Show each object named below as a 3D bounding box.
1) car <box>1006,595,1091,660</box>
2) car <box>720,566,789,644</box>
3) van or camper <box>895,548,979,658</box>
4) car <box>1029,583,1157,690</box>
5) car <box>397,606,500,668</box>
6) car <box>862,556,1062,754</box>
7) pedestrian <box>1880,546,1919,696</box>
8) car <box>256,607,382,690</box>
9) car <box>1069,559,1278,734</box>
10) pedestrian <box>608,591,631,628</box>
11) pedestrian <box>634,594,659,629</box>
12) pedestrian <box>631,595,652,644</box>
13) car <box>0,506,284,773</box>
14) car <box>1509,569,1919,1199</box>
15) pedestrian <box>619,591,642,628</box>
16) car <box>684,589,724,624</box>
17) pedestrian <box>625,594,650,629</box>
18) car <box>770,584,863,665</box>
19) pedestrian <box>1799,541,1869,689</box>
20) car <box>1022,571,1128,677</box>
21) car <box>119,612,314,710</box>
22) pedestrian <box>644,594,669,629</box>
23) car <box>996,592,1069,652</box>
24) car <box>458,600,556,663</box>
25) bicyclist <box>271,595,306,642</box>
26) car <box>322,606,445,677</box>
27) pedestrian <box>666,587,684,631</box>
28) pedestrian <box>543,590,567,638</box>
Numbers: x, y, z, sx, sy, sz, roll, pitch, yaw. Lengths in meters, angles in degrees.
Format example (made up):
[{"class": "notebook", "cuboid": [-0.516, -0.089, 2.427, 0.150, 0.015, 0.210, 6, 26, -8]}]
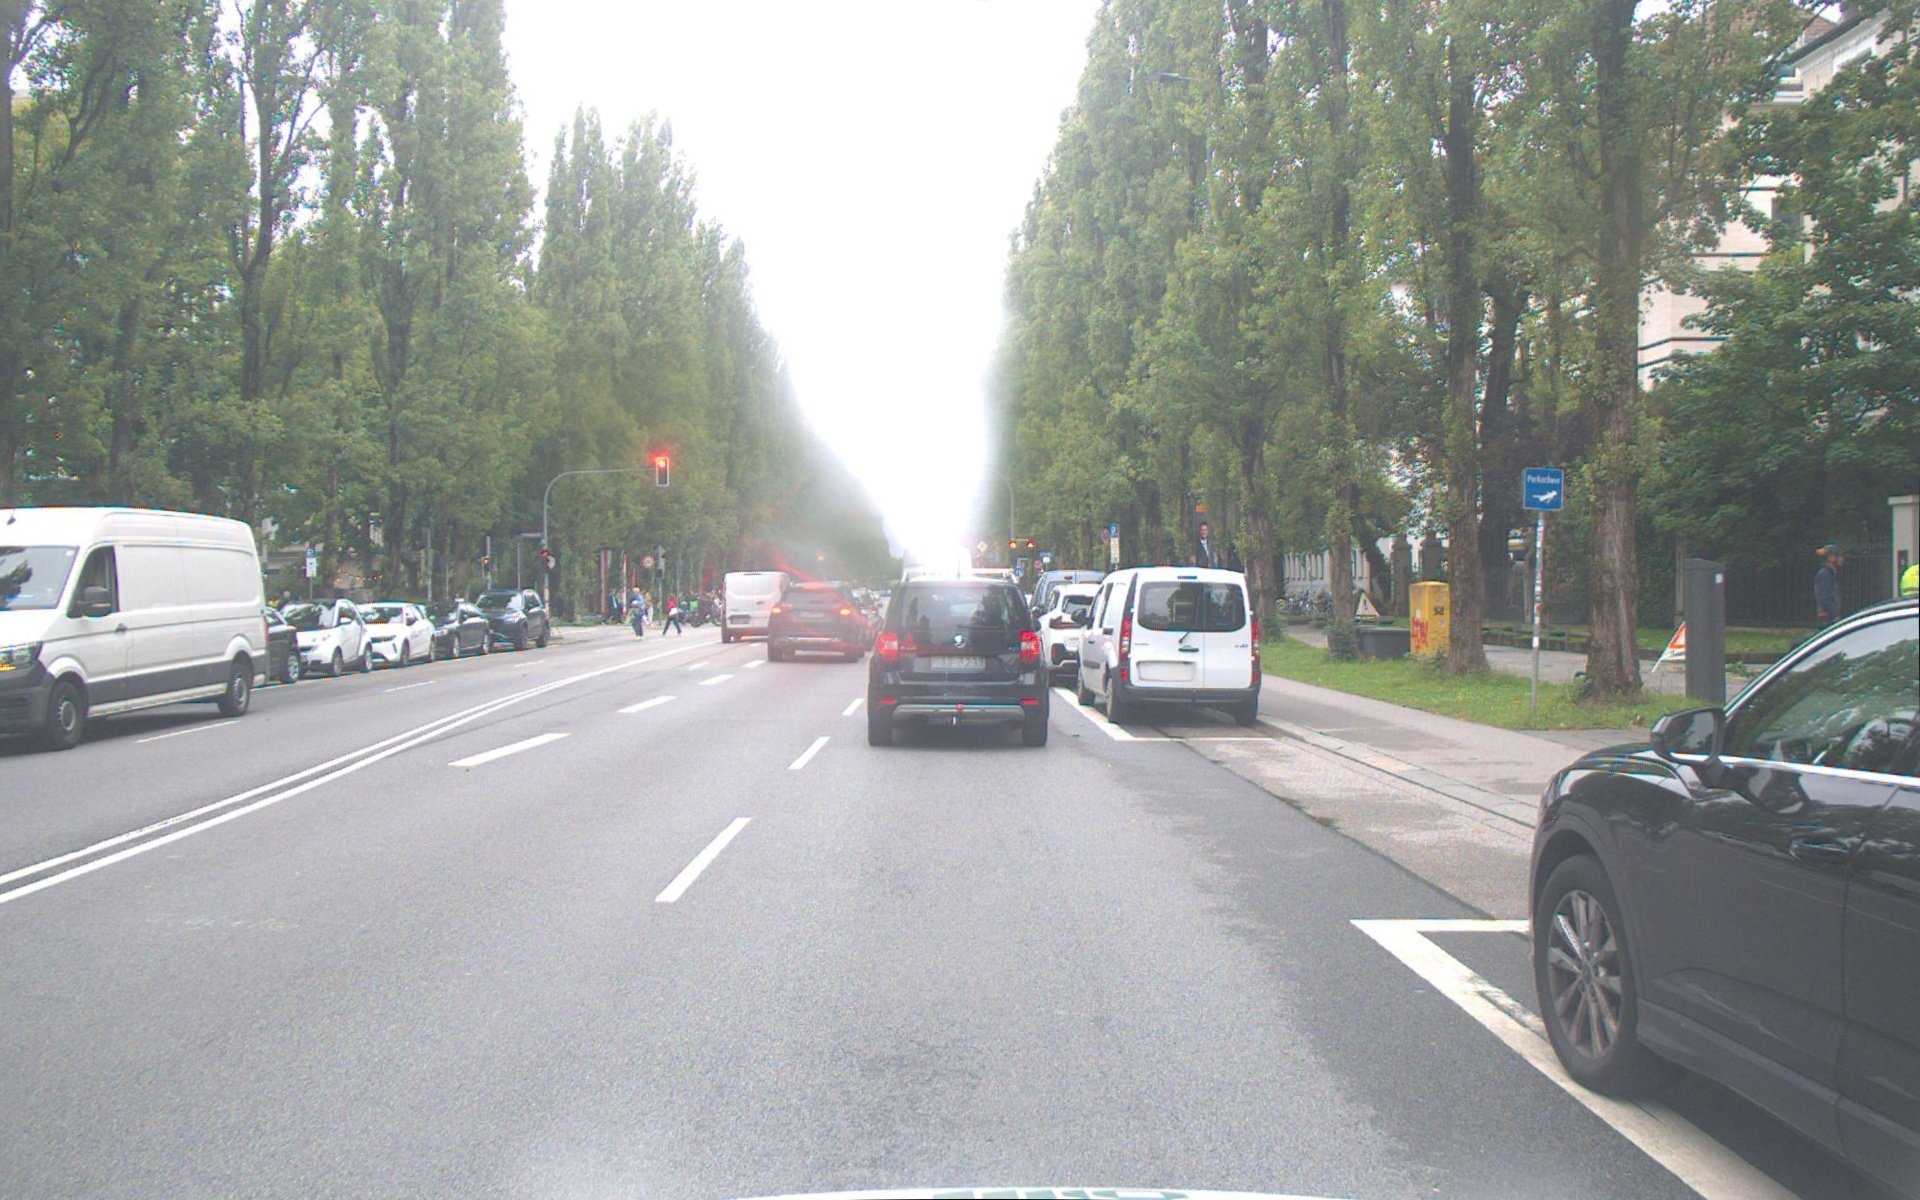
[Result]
[{"class": "car", "cuboid": [2.027, 0.611, 38.796, 1.700, 1.411, 3.561, -1, 1, -1]}, {"class": "car", "cuboid": [-5.901, 0.129, 47.892, 1.746, 2.148, 4.021, -1, 0, -4]}, {"class": "van or camper", "cuboid": [-0.626, 0.060, 41.478, 1.936, 2.593, 4.023, -1, 0, -3]}, {"class": "car", "cuboid": [2.144, 0.549, 27.652, 1.705, 1.620, 4.210, -1, 1, -1]}, {"class": "car", "cuboid": [-13.361, 0.933, 43.408, 1.591, 1.413, 4.164, -3, 0, -4]}, {"class": "car", "cuboid": [-0.014, 0.496, 17.344, 1.818, 1.801, 3.999, 1, 0, -1]}, {"class": "pedestrian", "cuboid": [11.975, 0.249, 20.350, 0.787, 1.813, 0.817, -1, 0, -18]}, {"class": "car", "cuboid": [-12.964, 0.948, 33.603, 1.399, 1.472, 2.965, -4, 0, -2]}, {"class": "car", "cuboid": [2.508, 0.490, 20.441, 1.814, 1.914, 4.166, -1, 1, -3]}, {"class": "pedestrian", "cuboid": [-16.798, 0.483, 81.564, 0.861, 1.795, 0.879, -1, 0, 8]}, {"class": "pedestrian", "cuboid": [-14.941, 0.547, 78.816, 0.874, 1.684, 0.866, -1, 0, -39]}, {"class": "pedestrian", "cuboid": [-10.524, 0.644, 54.692, 0.517, 1.604, 0.662, -1, 0, -1]}, {"class": "car", "cuboid": [-10.161, 0.398, 19.057, 2.184, 2.526, 6.754, -3, 0, -3]}, {"class": "car", "cuboid": [2.836, 0.708, 3.462, 1.842, 1.567, 4.463, -1, 1, -1]}, {"class": "pedestrian", "cuboid": [-16.029, 0.463, 80.503, 0.861, 1.795, 0.879, -1, 0, 8]}, {"class": "car", "cuboid": [-13.890, 0.341, 89.805, 1.654, 1.814, 3.774, -1, 1, -1]}, {"class": "pedestrian", "cuboid": [-15.498, 0.547, 79.515, 0.874, 1.684, 0.866, -1, 0, -39]}, {"class": "car", "cuboid": [-3.039, 0.480, 35.645, 1.745, 1.648, 4.024, 0, 1, -1]}, {"class": "pedestrian", "cuboid": [11.393, 0.191, 21.565, 0.479, 1.895, 0.635, -1, 0, -18]}, {"class": "car", "cuboid": [2.206, 0.419, 32.668, 1.700, 1.928, 4.024, -1, 1, -1]}, {"class": "car", "cuboid": [-12.838, 1.010, 28.822, 1.568, 1.450, 3.851, -3, 0, 0]}, {"class": "pedestrian", "cuboid": [-14.761, 0.552, 80.535, 0.874, 1.684, 0.866, -1, 0, -39]}, {"class": "car", "cuboid": [1.896, 0.556, 44.299, 1.700, 1.501, 3.561, -1, 1, -1]}, {"class": "car", "cuboid": [-13.439, 0.889, 49.356, 1.812, 1.683, 4.692, -3, 0, -4]}, {"class": "bicyclist", "cuboid": [-25.326, 0.680, 62.370, 0.886, 1.752, 0.825, -1, 0, 8]}, {"class": "car", "cuboid": [-13.139, 0.914, 37.909, 1.592, 1.413, 4.163, -3, 0, -5]}, {"class": "pedestrian", "cuboid": [-10.080, 0.312, 58.443, 0.507, 1.511, 0.536, -1, 0, -1]}, {"class": "pedestrian", "cuboid": [-13.732, 0.466, 56.078, 0.647, 1.604, 0.530, -1, 0, -1]}]
